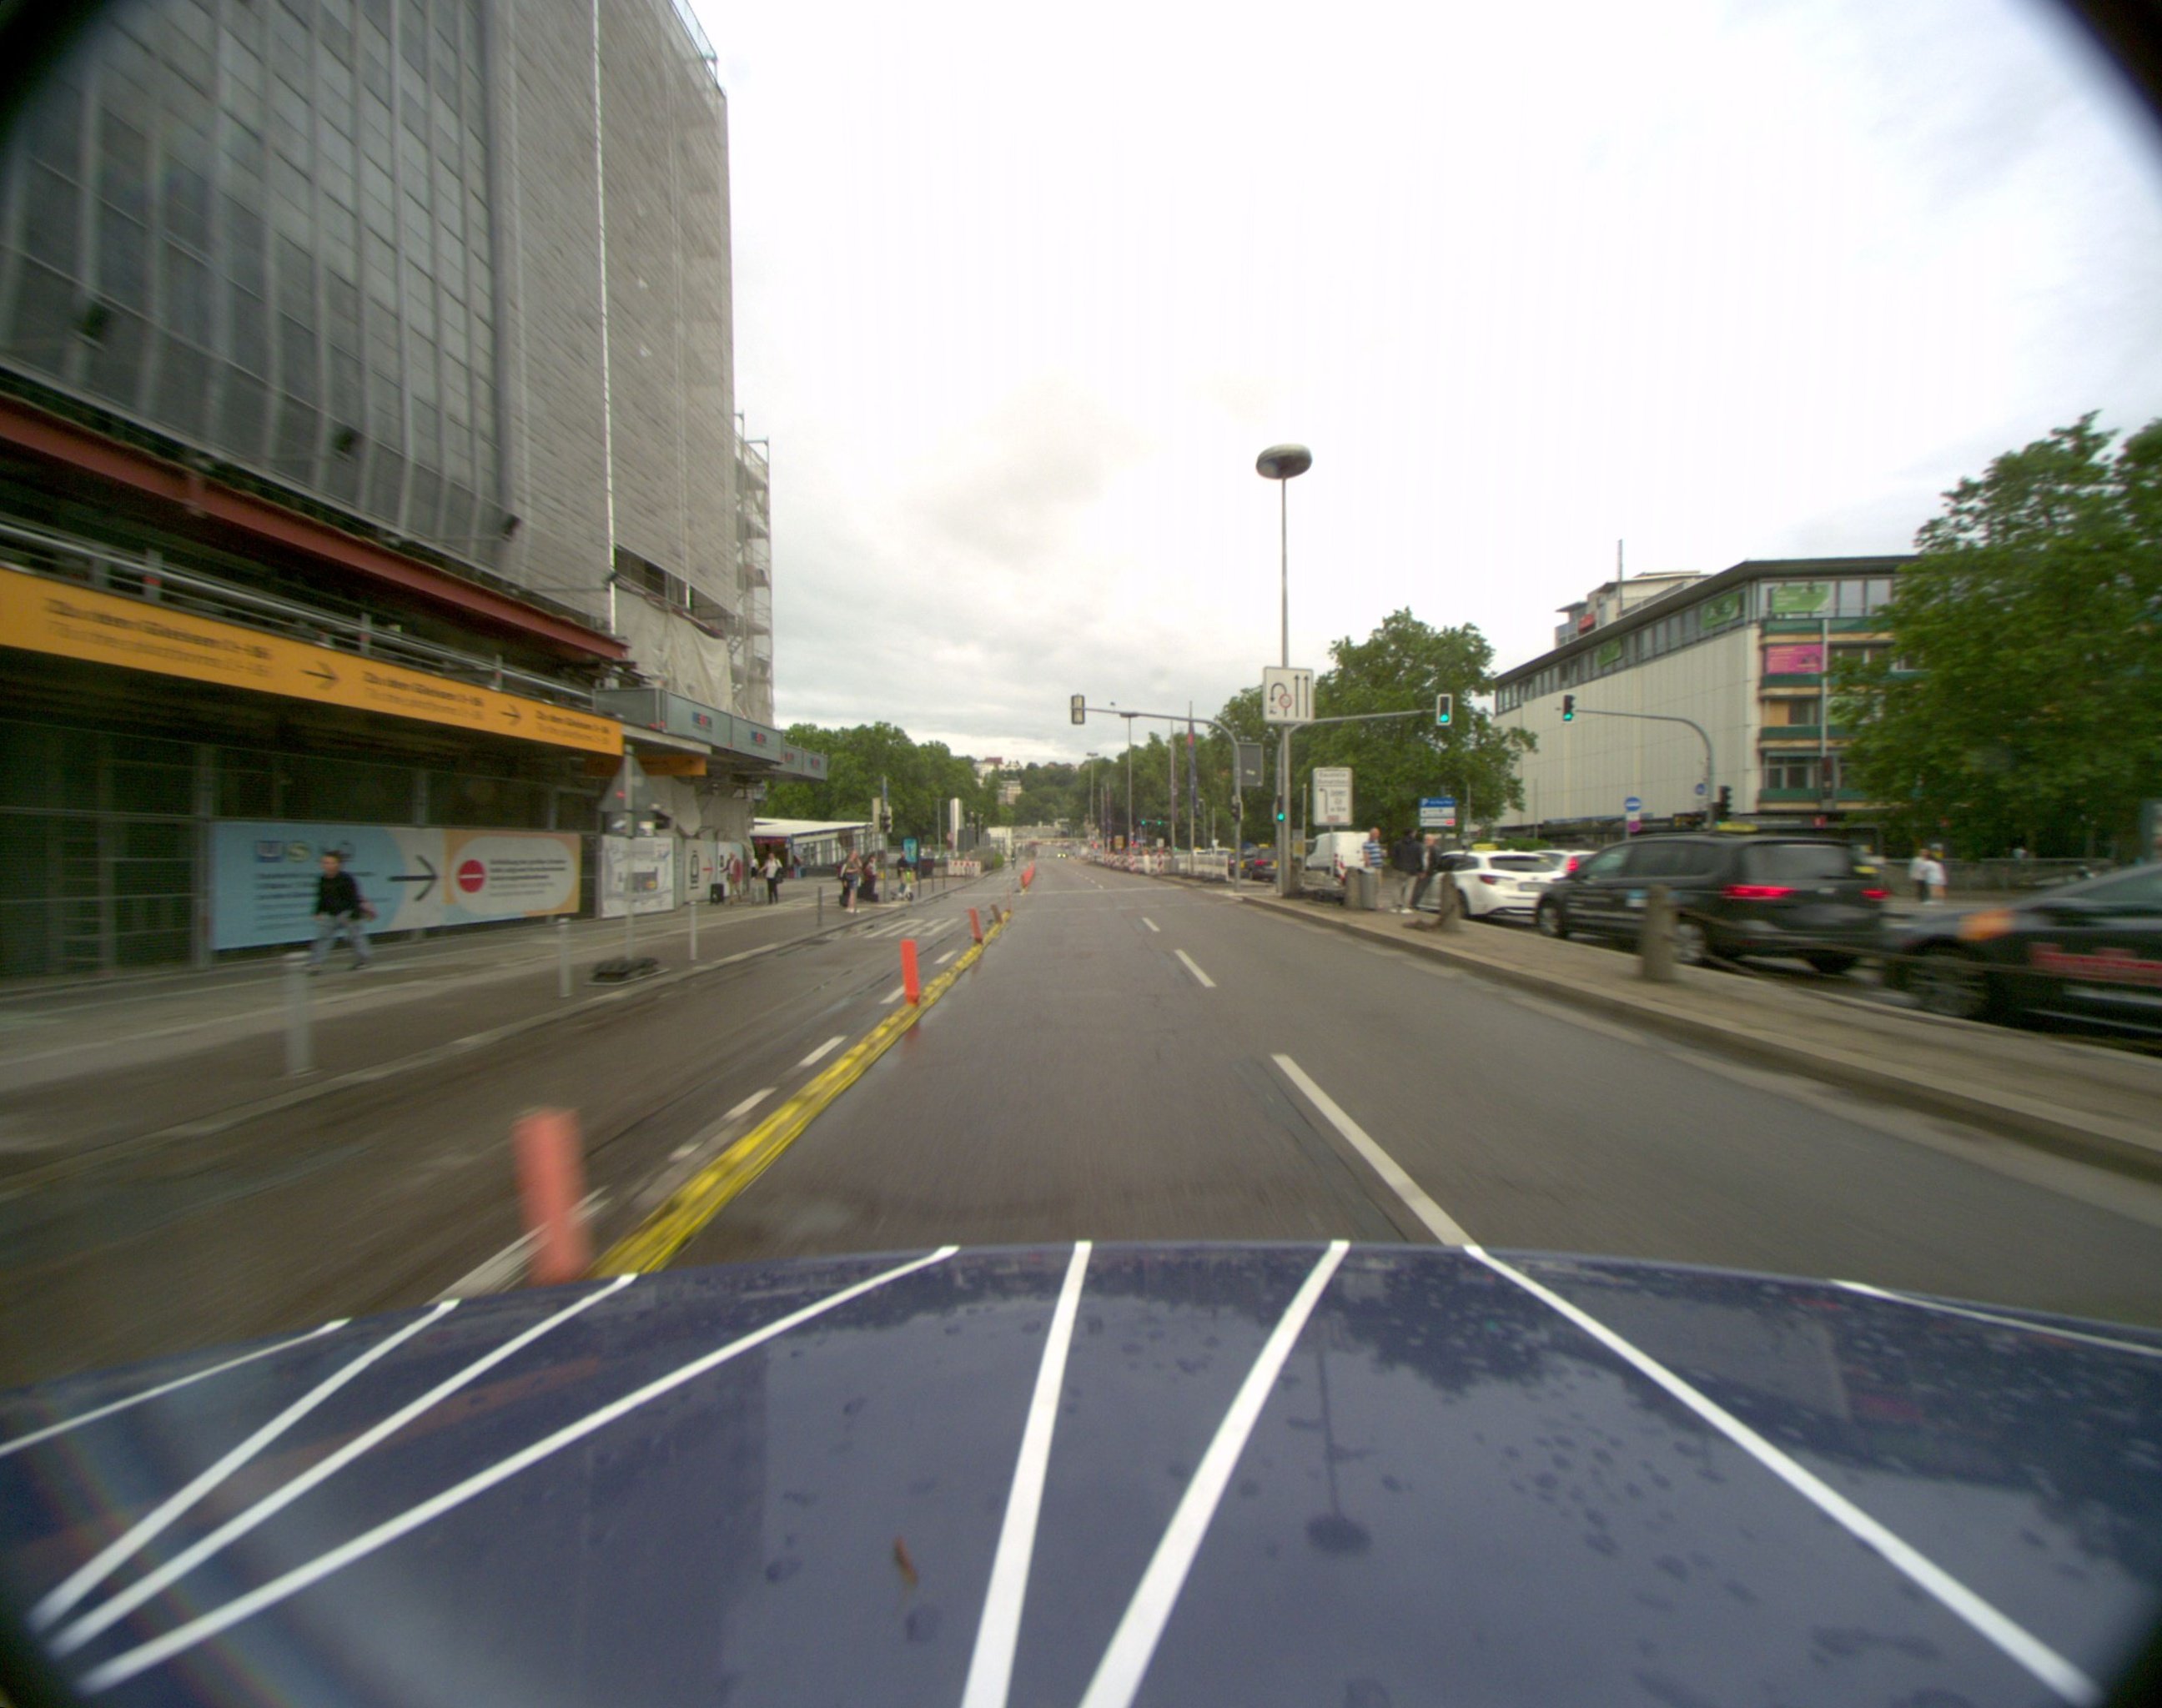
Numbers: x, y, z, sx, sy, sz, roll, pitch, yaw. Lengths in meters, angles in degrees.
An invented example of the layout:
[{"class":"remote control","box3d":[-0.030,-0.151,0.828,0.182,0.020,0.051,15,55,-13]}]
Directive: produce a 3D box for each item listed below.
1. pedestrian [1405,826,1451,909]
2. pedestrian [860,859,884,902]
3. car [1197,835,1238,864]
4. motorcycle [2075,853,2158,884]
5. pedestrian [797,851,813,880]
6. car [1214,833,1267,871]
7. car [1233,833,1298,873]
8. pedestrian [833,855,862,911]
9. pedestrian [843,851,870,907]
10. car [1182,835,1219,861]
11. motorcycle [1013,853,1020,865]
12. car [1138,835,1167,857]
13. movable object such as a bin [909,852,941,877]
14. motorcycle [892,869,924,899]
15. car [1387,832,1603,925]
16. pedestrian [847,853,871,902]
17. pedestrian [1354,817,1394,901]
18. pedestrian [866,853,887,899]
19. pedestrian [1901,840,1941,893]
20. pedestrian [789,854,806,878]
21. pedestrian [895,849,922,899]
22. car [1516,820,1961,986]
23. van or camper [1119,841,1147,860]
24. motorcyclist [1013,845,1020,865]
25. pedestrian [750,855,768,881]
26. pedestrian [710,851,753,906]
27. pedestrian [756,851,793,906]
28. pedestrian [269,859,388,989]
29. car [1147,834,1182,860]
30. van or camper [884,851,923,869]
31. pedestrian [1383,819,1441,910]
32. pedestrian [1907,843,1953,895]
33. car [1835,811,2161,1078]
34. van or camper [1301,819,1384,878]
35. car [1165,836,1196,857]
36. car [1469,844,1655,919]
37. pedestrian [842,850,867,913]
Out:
[{"class":"pedestrian","box3d":[7.285,0.279,15.984,0.653,1.701,0.593,-2,1,1]},{"class":"pedestrian","box3d":[-7.156,0.894,26.017,0.559,1.441,0.711,2,1,3]},{"class":"car","box3d":[8.539,-0.277,47.883,1.788,1.712,4.483,0,0,0]},{"class":"motorcycle","box3d":[36.408,0.481,26.748,0.531,1.041,1.717,-1,1,-1]},{"class":"pedestrian","box3d":[-19.516,0.792,53.698,0.806,2.002,0.765,-3,2,-5]},{"class":"car","box3d":[8.720,-0.113,41.799,1.908,1.887,4.522,-2,0,0]},{"class":"car","box3d":[8.534,-0.031,35.510,1.908,1.689,4.499,-2,0,0]},{"class":"pedestrian","box3d":[-7.033,0.849,22.909,0.559,1.631,0.752,2,1,3]},{"class":"pedestrian","box3d":[-7.165,0.783,24.260,0.559,1.742,0.711,2,1,3]},{"class":"car","box3d":[8.758,-0.432,56.098,1.919,1.840,4.565,0,0,-1]},{"class":"motorcycle","box3d":[-6.674,0.496,78.893,0.730,1.221,2.160,0,0,-4]},{"class":"car","box3d":[5.872,-0.619,63.019,1.998,1.760,4.810,0,0,0]},{"class":"movable object such as a bin","box3d":[-9.930,0.649,48.293,1.299,1.483,1.536,0,1,31]},{"class":"motorcycle","box3d":[-6.166,1.058,27.109,0.587,1.015,1.236,-2,1,-40]},{"class":"car","box3d":[8.261,0.421,15.810,2.019,1.612,4.842,-1,0,2]},{"class":"pedestrian","box3d":[-7.711,0.812,26.430,0.565,1.641,0.615,2,1,7]},{"class":"pedestrian","box3d":[6.365,0.100,16.503,0.558,1.765,0.753,3,1,36]},{"class":"pedestrian","box3d":[-7.475,0.812,27.796,0.559,1.641,0.614,2,1,3]},{"class":"pedestrian","box3d":[26.410,0.376,23.898,0.530,1.632,0.609,2,1,-17]},{"class":"pedestrian","box3d":[-19.561,0.796,52.411,0.857,1.584,0.709,-3,2,-5]},{"class":"pedestrian","box3d":[-6.161,0.703,27.091,0.582,1.731,0.819,-2,1,-40]},{"class":"car","box3d":[8.087,0.468,10.151,1.934,1.681,4.682,1,1,2]},{"class":"van or camper","box3d":[5.128,-0.333,75.665,1.951,1.809,5.389,1,0,-5]},{"class":"motorcyclist","box3d":[-6.691,0.080,78.994,0.726,2.024,0.587,0,0,-4]},{"class":"pedestrian","box3d":[-21.030,0.901,49.618,0.916,1.637,0.700,-1,2,-37]},{"class":"pedestrian","box3d":[-10.949,0.748,23.817,0.734,1.672,1.110,-1,1,5]},{"class":"pedestrian","box3d":[-9.671,0.747,23.999,0.737,1.668,0.957,2,1,2]},{"class":"pedestrian","box3d":[-9.993,0.887,10.122,0.550,1.623,0.995,2,1,2]},{"class":"car","box3d":[5.954,-0.467,54.925,1.998,1.807,4.810,0,0,0]},{"class":"van or camper","box3d":[-24.148,0.844,103.078,2.391,2.387,6.046,0,-1,-45]},{"class":"pedestrian","box3d":[6.564,0.204,15.095,0.784,1.765,0.606,2,1,-9]},{"class":"pedestrian","box3d":[26.249,0.456,23.494,0.476,1.563,0.751,2,1,-16]},{"class":"car","box3d":[7.773,0.586,4.539,1.934,1.681,4.682,1,1,2]},{"class":"van or camper","box3d":[12.097,-0.252,35.522,1.998,2.500,5.370,2,1,1]},{"class":"car","box3d":[8.438,-0.613,64.863,1.895,1.692,4.421,-2,0,-1]},{"class":"car","box3d":[12.218,0.589,19.752,1.934,1.681,4.682,1,1,2]},{"class":"pedestrian","box3d":[-6.409,0.770,21.505,0.560,1.749,0.751,2,1,-11]}]
